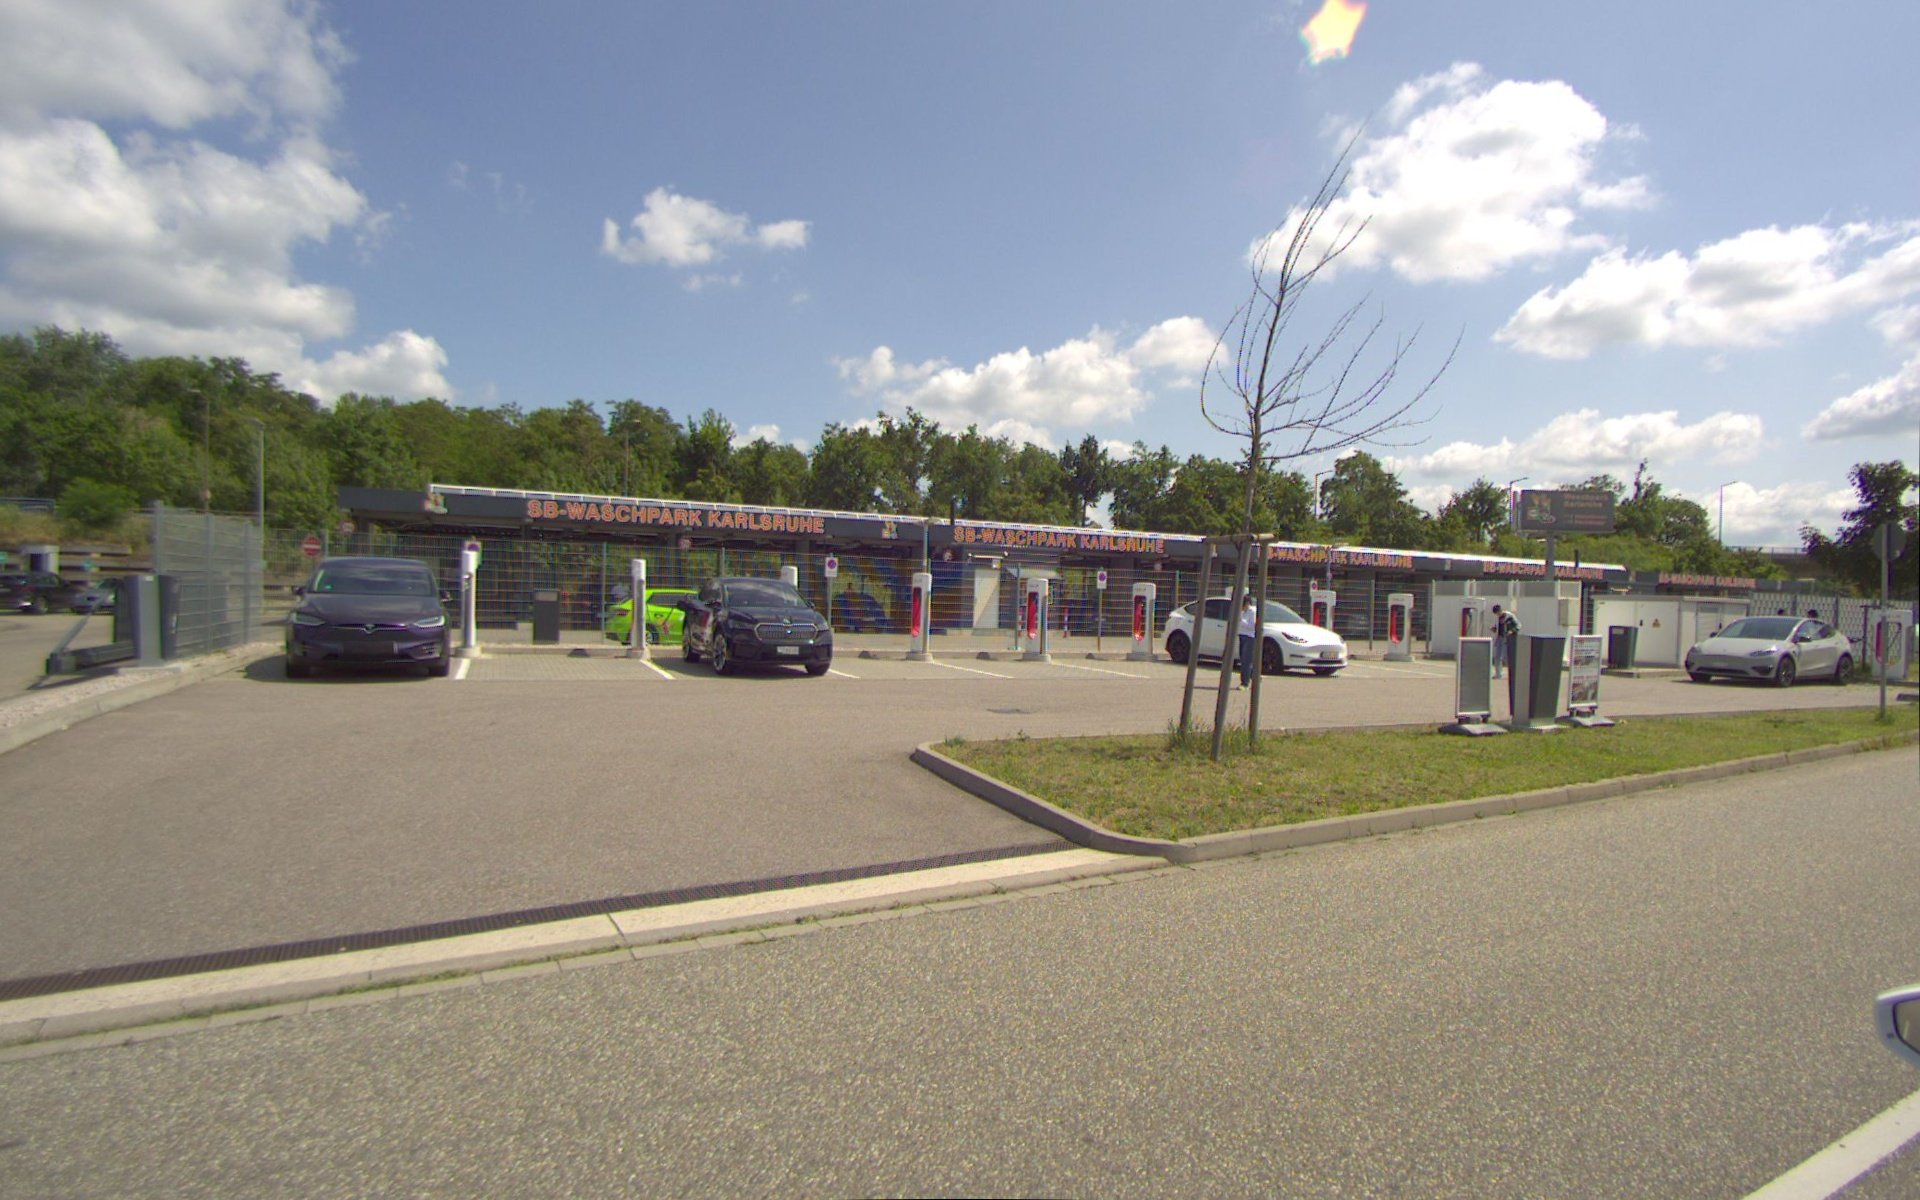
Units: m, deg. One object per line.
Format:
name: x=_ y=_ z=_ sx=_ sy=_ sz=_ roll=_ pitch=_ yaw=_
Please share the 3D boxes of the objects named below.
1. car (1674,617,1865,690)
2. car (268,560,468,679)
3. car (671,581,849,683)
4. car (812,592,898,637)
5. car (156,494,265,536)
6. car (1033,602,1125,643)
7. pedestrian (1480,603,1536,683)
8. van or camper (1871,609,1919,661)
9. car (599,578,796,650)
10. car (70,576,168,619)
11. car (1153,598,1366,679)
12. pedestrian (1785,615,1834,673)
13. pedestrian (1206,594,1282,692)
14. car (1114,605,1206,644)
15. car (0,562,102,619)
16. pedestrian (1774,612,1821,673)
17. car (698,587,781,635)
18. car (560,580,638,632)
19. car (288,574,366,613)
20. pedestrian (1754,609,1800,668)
car: x=19.889 y=1.243 z=24.655 sx=4.714 sy=1.538 sz=1.923 roll=0 pitch=1 yaw=-28
car: x=-8.806 y=0.217 z=15.119 sx=2.211 sy=1.475 sz=4.723 roll=2 pitch=1 yaw=-30
car: x=-3.634 y=0.500 z=17.673 sx=1.975 sy=1.539 sz=3.970 roll=2 pitch=0 yaw=-28
car: x=-4.092 y=0.547 z=38.716 sx=1.975 sy=1.583 sz=3.972 roll=2 pitch=-1 yaw=-27
car: x=-38.483 y=-4.358 z=51.723 sx=4.330 sy=1.673 sz=1.981 roll=2 pitch=-1 yaw=-34
car: x=4.945 y=0.910 z=42.224 sx=1.975 sy=1.583 sz=3.972 roll=2 pitch=-1 yaw=-27
pedestrian: x=12.659 y=0.989 z=23.221 sx=0.720 sy=1.775 sz=0.856 roll=2 pitch=1 yaw=-35
van or camper: x=48.566 y=1.798 z=51.784 sx=2.163 sy=2.547 sz=5.674 roll=-1 pitch=-2 yaw=41
car: x=-6.254 y=0.332 z=23.919 sx=4.241 sy=1.502 sz=1.910 roll=2 pitch=0 yaw=-25
car: x=-32.902 y=-0.089 z=39.439 sx=1.805 sy=1.531 sz=4.177 roll=1 pitch=-1 yaw=-24
car: x=6.697 y=0.816 z=22.948 sx=1.976 sy=1.544 sz=4.529 roll=2 pitch=0 yaw=-30
pedestrian: x=23.568 y=1.206 z=27.867 sx=0.804 sy=1.562 sz=0.735 roll=2 pitch=0 yaw=-25
pedestrian: x=5.045 y=0.752 z=17.885 sx=0.930 sy=1.675 sz=0.858 roll=2 pitch=1 yaw=-30
car: x=8.836 y=1.079 z=44.703 sx=1.975 sy=1.583 sz=3.972 roll=2 pitch=-1 yaw=-27
car: x=-35.309 y=-0.352 z=38.626 sx=1.967 sy=2.040 sz=3.986 roll=2 pitch=-1 yaw=-16
pedestrian: x=22.629 y=1.151 z=27.148 sx=0.707 sy=1.600 sz=0.714 roll=2 pitch=0 yaw=12
car: x=-8.012 y=0.377 z=36.260 sx=1.975 sy=1.583 sz=3.972 roll=2 pitch=-1 yaw=-27
car: x=-12.361 y=0.198 z=34.233 sx=1.975 sy=1.583 sz=3.972 roll=2 pitch=-1 yaw=-27
car: x=-26.622 y=-0.255 z=42.410 sx=1.860 sy=1.525 sz=3.983 roll=2 pitch=-1 yaw=-19
pedestrian: x=22.744 y=1.057 z=27.967 sx=0.699 sy=1.586 sz=0.759 roll=2 pitch=0 yaw=12
